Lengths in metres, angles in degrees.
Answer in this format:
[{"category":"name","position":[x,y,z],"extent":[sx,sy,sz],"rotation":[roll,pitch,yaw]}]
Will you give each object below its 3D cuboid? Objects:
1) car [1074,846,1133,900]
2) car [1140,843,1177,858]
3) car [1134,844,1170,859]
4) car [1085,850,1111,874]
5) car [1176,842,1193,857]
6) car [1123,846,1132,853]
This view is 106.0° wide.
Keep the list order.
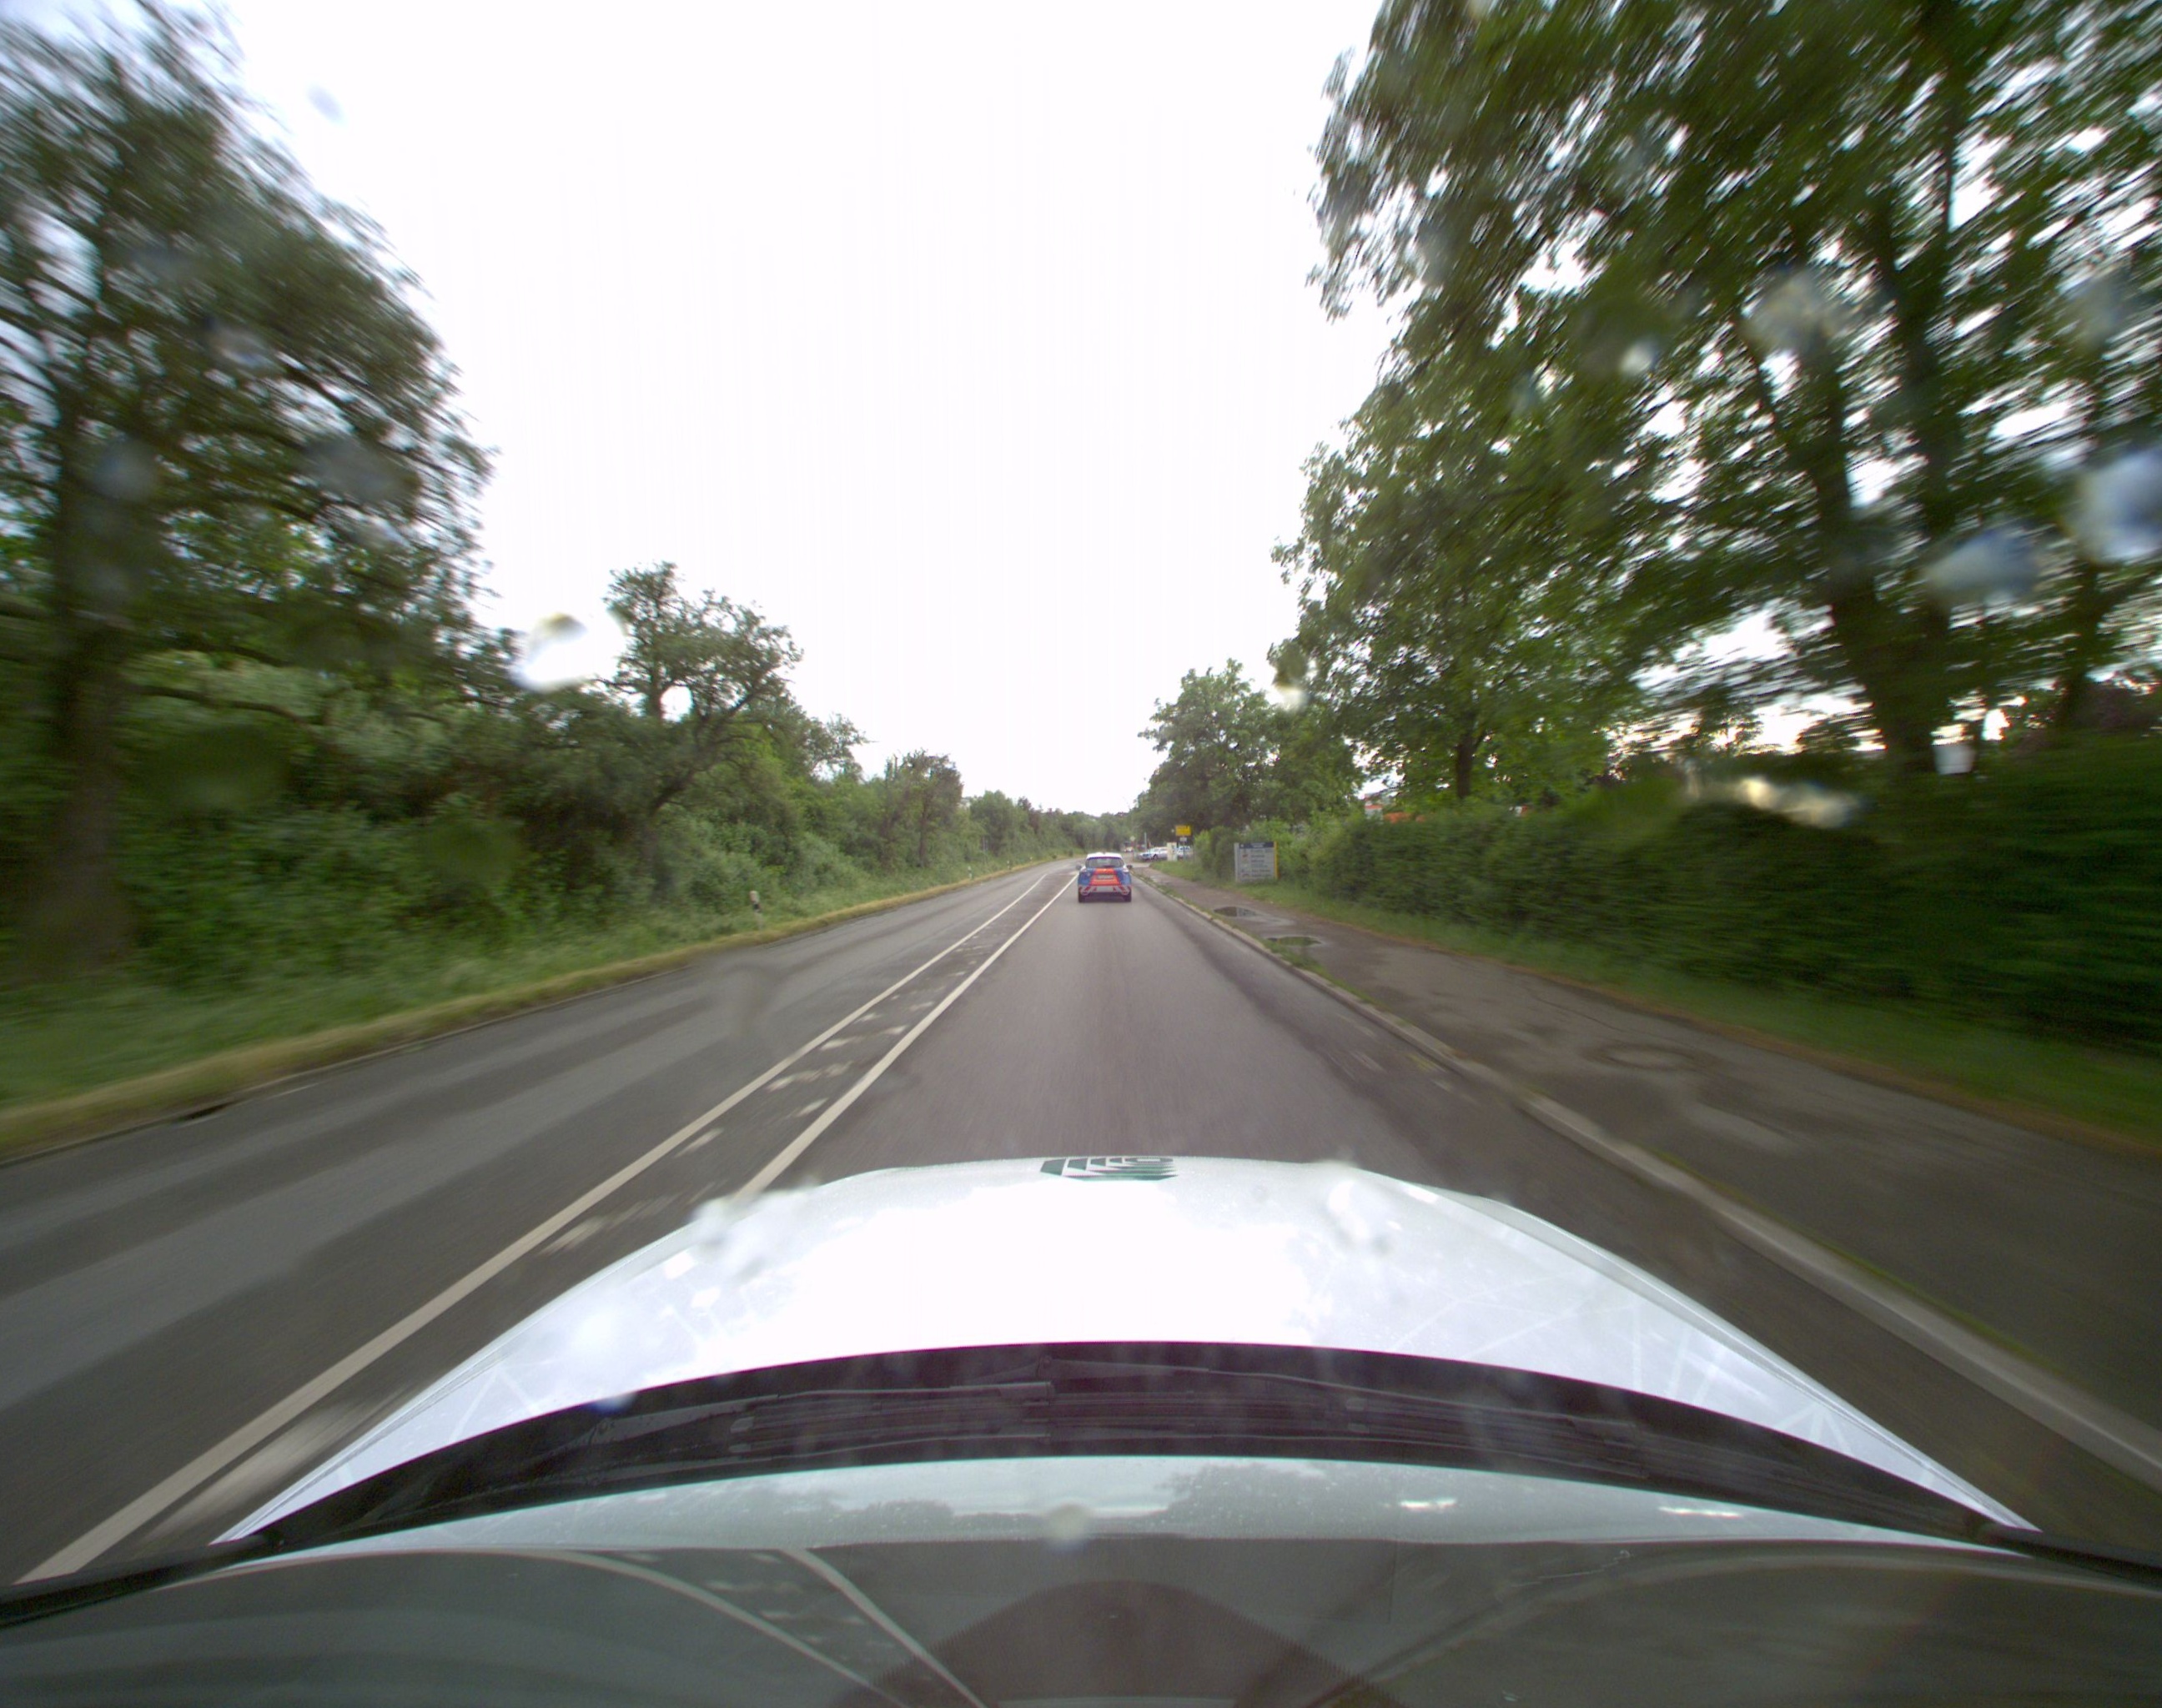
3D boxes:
[{"category":"car","position":[0.730,0.601,27.213],"extent":[1.799,1.668,3.856],"rotation":[-1,0,1]},{"category":"car","position":[9.779,-0.437,102.415],"extent":[4.644,1.751,2.010],"rotation":[1,-1,-44]},{"category":"car","position":[9.208,-0.320,105.386],"extent":[4.644,1.751,2.010],"rotation":[1,-2,-44]},{"category":"car","position":[1.199,0.554,55.709],"extent":[1.687,1.595,3.857],"rotation":[0,0,2]},{"category":"car","position":[12.581,-0.545,99.480],"extent":[1.818,1.829,4.268],"rotation":[0,0,4]},{"category":"car","position":[12.455,-1.192,216.230],"extent":[1.682,1.790,3.870],"rotation":[0,0,14]}]
